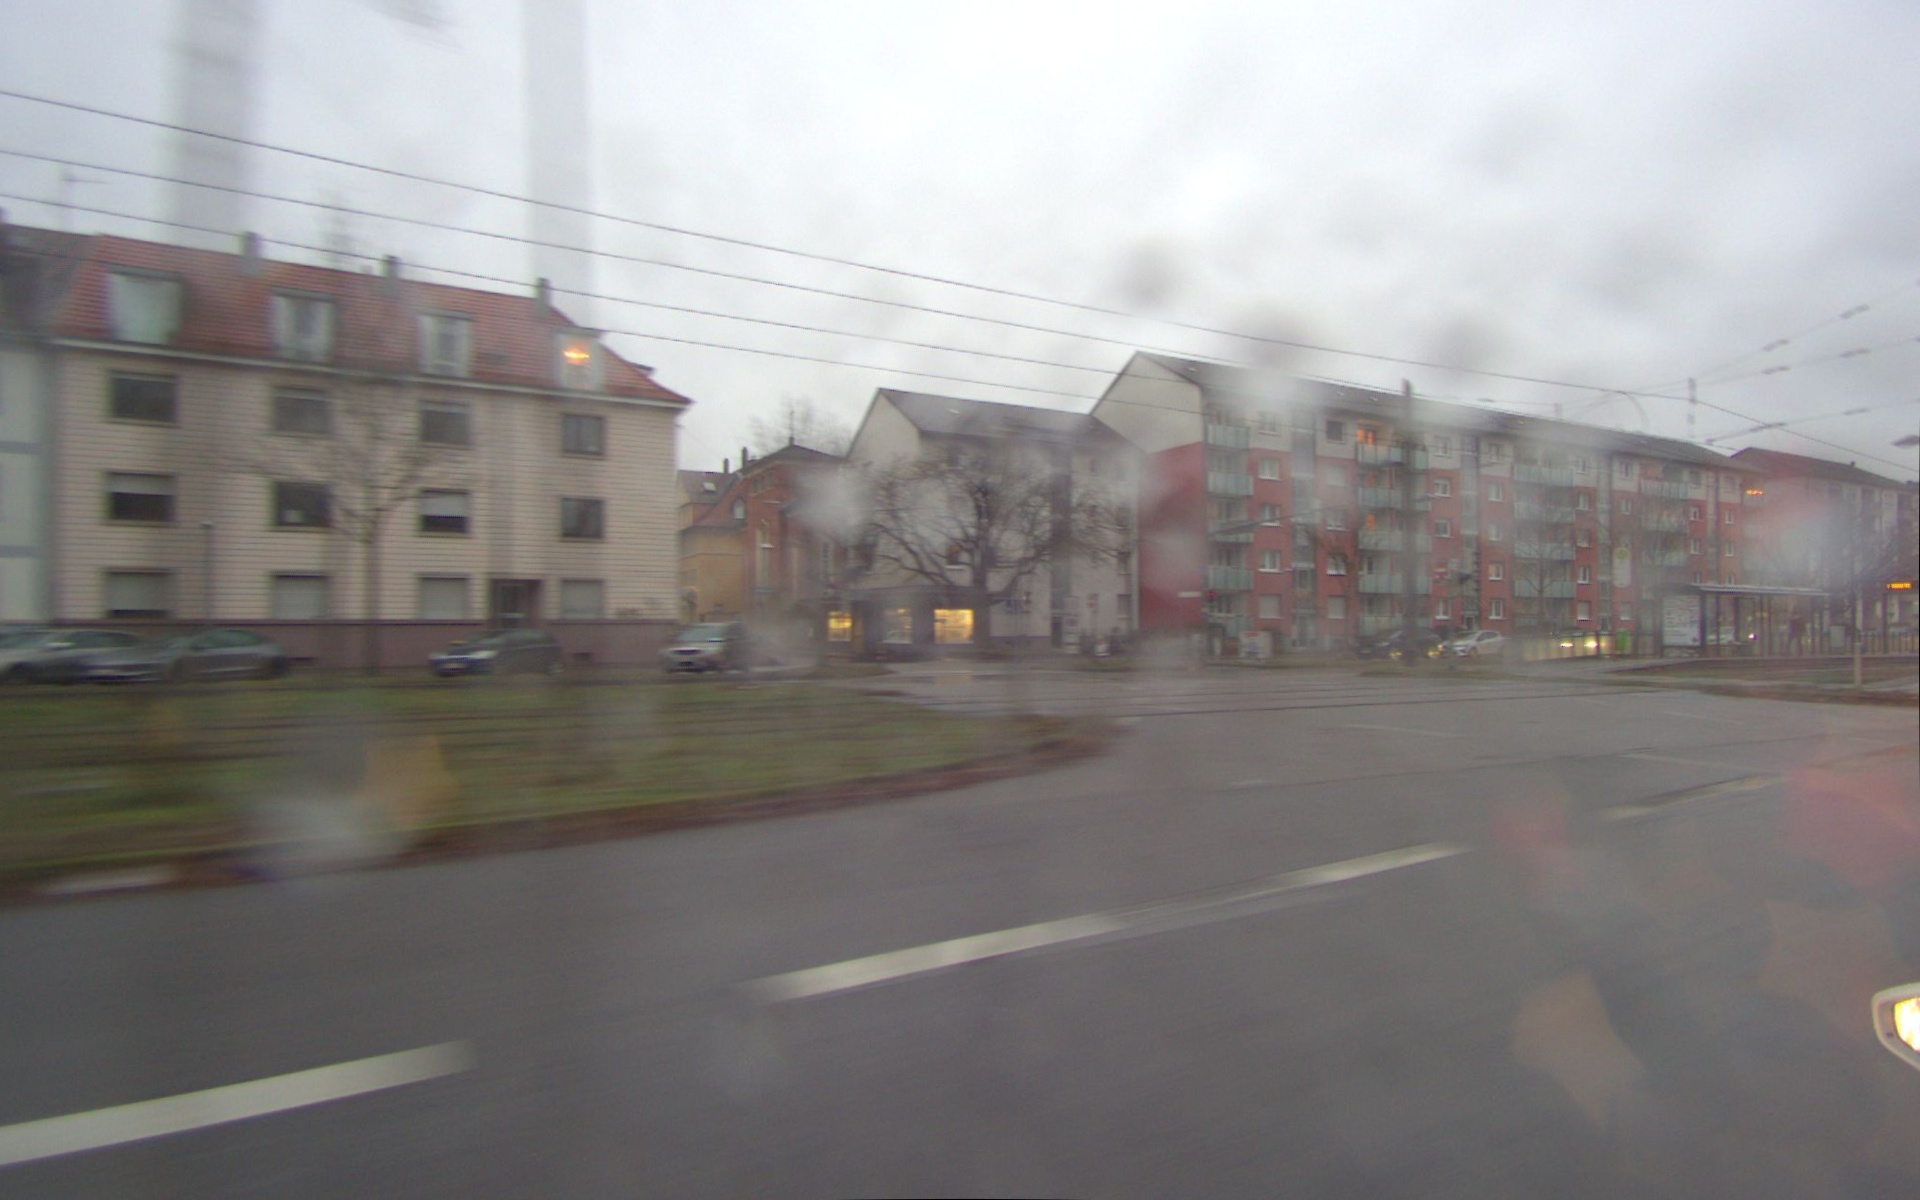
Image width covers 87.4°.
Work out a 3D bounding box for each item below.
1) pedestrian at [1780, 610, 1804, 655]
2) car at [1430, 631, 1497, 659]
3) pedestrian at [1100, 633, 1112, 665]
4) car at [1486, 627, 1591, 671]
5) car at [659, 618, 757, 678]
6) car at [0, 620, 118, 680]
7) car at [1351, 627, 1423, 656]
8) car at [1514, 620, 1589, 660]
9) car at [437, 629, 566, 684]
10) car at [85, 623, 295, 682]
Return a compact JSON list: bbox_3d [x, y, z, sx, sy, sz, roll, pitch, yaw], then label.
[{"bbox_3d":[31.486,1.226,38.020,0.455,1.678,0.494,1,1,-11],"label":"pedestrian"},{"bbox_3d":[25.500,2.275,50.850,3.345,1.304,1.438,1,0,-30],"label":"car"},{"bbox_3d":[5.698,1.903,39.141,0.340,1.200,0.434,1,0,21],"label":"pedestrian"},{"bbox_3d":[19.508,1.622,33.831,3.593,1.360,1.438,1,0,-30],"label":"car"},{"bbox_3d":[-7.436,1.373,30.036,1.707,1.576,3.800,1,0,4],"label":"car"},{"bbox_3d":[-20.825,1.089,22.455,1.369,1.163,3.045,1,0,3],"label":"car"},{"bbox_3d":[20.292,1.947,47.714,3.345,1.304,1.438,1,0,-30],"label":"car"},{"bbox_3d":[32.767,2.182,55.656,3.956,2.040,1.982,1,1,-33],"label":"car"},{"bbox_3d":[-12.455,1.492,27.534,1.424,1.355,3.770,0,-1,7],"label":"car"},{"bbox_3d":[-18.076,1.176,23.857,1.648,1.131,4.190,1,0,3],"label":"car"}]
